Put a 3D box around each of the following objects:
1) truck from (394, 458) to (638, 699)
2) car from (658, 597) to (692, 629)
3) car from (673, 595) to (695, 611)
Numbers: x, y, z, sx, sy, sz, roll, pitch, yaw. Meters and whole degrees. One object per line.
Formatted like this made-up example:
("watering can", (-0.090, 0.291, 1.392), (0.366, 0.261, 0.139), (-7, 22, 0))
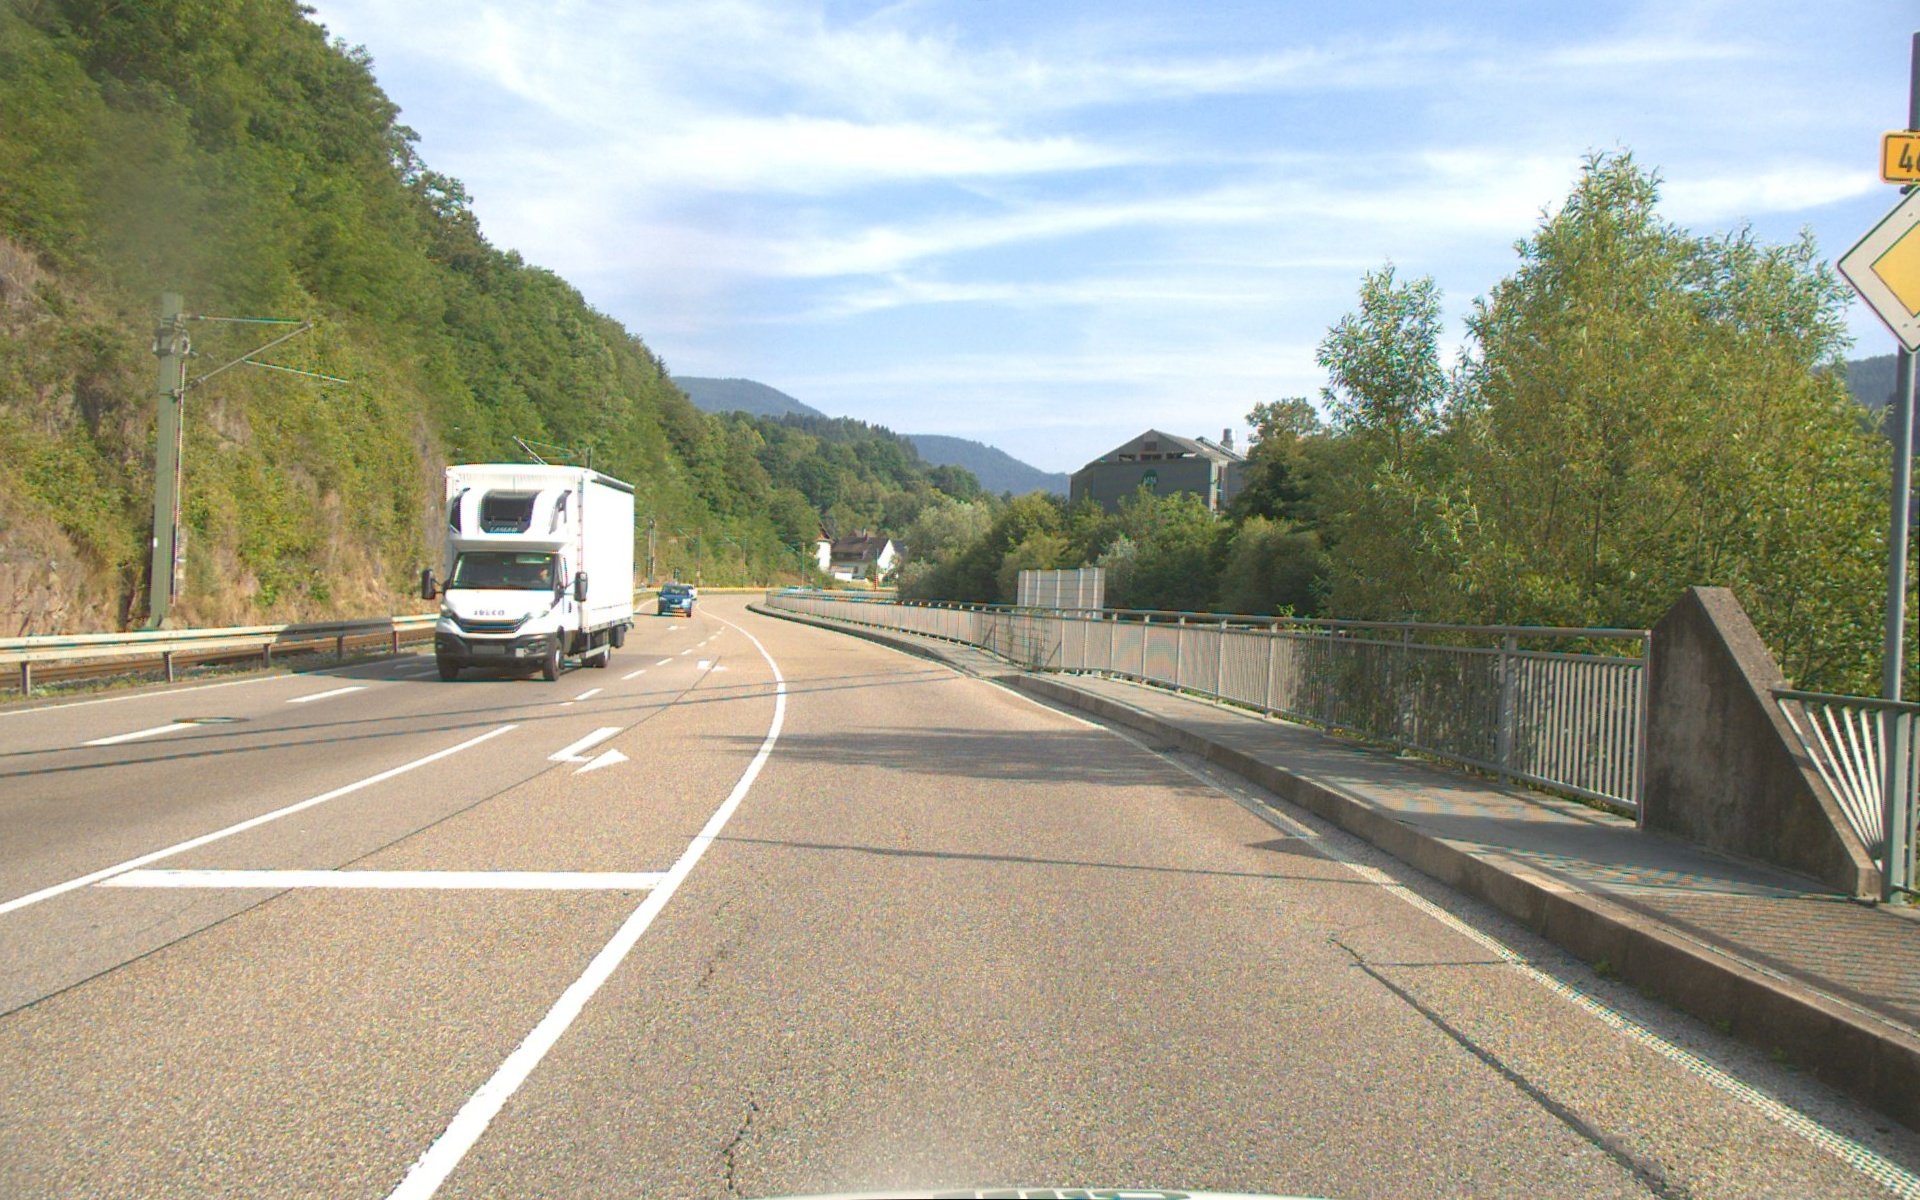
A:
("truck", (-8.011, -0.349, 31.087), (2.840, 3.865, 8.885), (0, 0, -5))
("car", (-14.663, 0.680, 85.046), (1.687, 1.598, 4.124), (1, 0, -11))
("car", (-26.212, 0.305, 157.079), (2.025, 1.464, 4.676), (1, 0, -9))
